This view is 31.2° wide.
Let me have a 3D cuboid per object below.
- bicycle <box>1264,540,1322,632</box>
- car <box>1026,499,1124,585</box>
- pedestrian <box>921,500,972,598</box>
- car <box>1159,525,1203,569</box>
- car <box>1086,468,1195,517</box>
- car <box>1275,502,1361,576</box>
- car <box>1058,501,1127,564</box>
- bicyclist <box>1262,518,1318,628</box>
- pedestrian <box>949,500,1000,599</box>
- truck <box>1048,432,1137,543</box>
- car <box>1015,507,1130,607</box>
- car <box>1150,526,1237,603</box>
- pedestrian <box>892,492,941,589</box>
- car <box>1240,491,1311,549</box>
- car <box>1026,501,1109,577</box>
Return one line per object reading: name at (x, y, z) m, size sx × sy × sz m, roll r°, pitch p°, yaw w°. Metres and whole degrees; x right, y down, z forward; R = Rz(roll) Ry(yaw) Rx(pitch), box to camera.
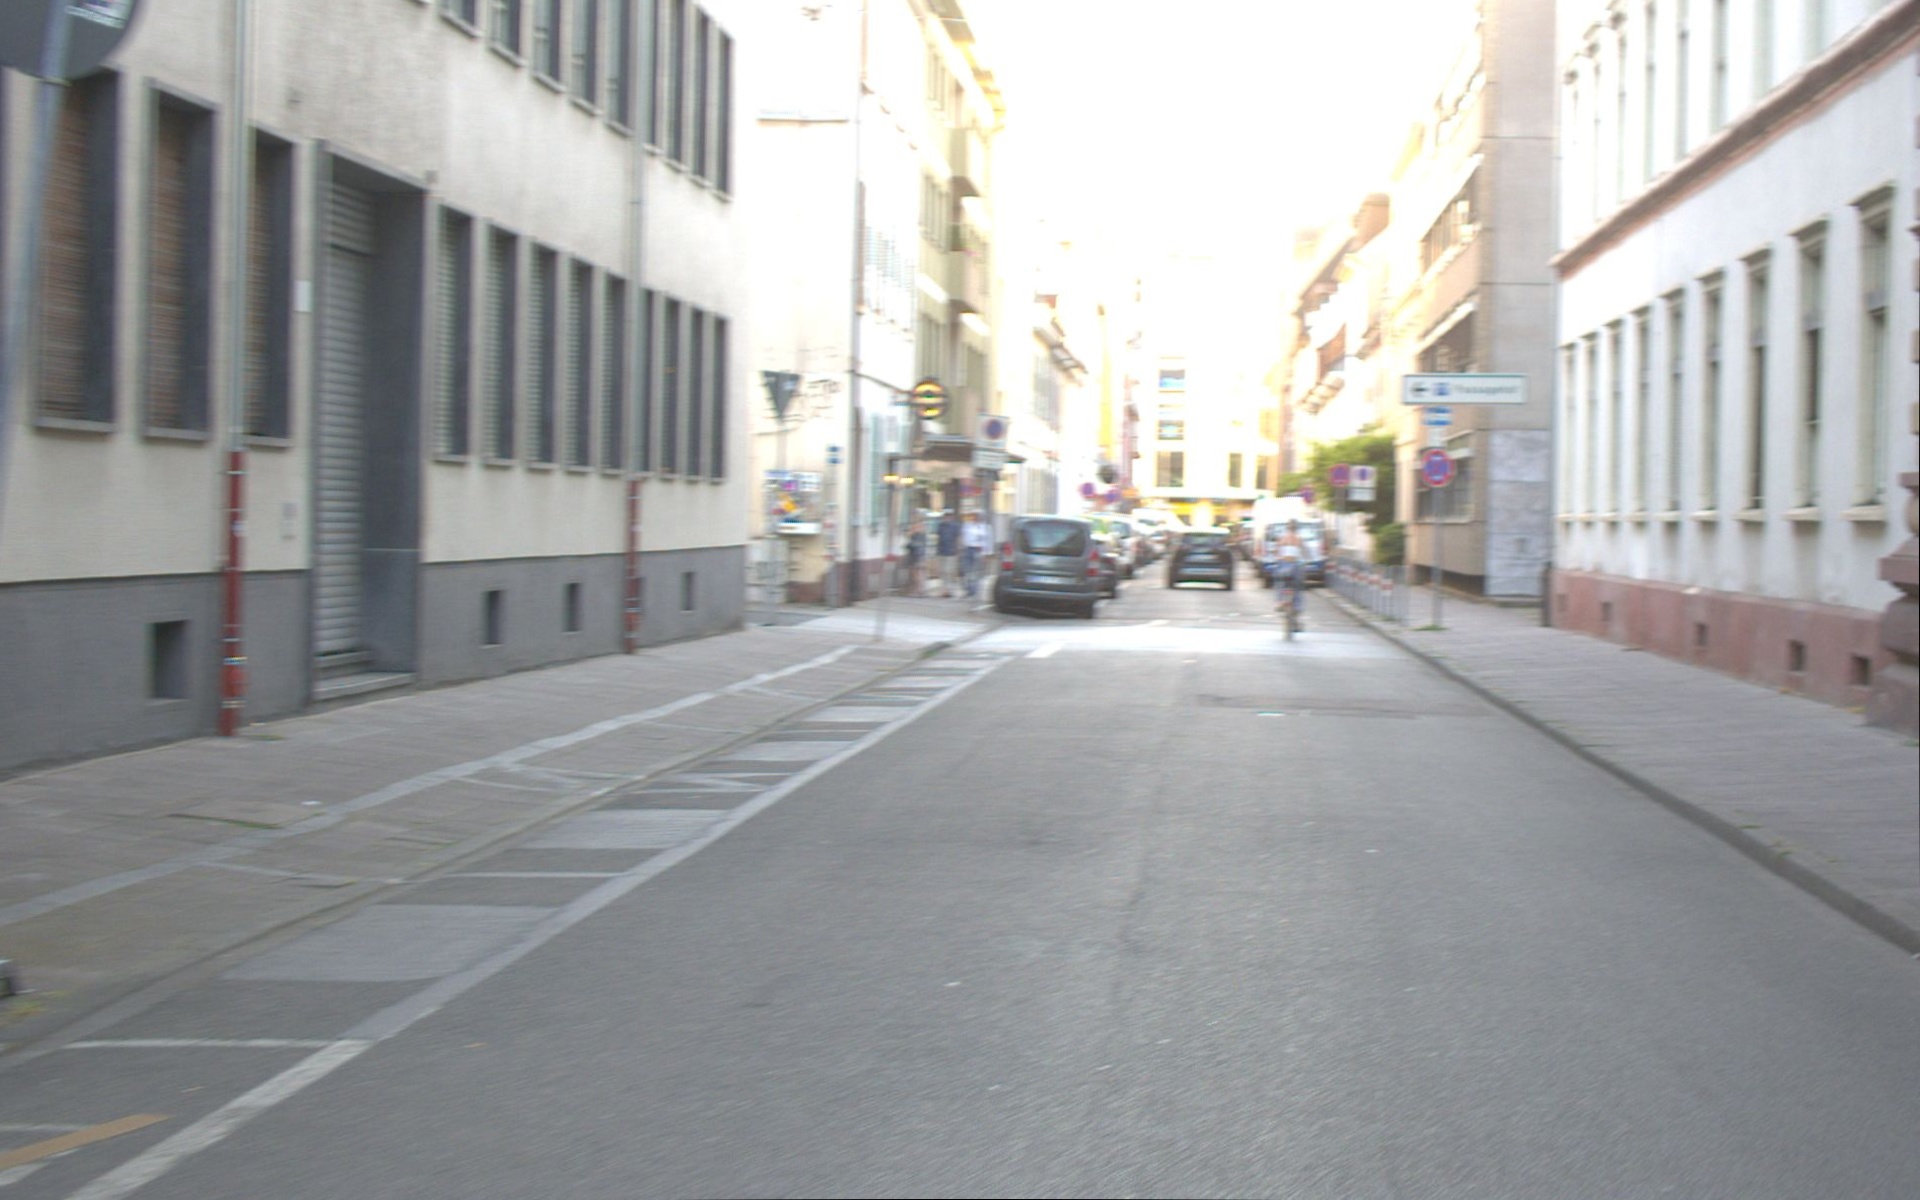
bicycle at (4.866, -0.224, 50.340) m, size 0.794 × 1.273 × 2.578 m, roll 1°, pitch 1°, yaw 5°
car at (2.515, -1.301, 75.942) m, size 1.993 × 1.809 × 4.000 m, roll 1°, pitch 1°, yaw 0°
pedestrian at (-0.259, -0.999, 67.524) m, size 0.733 × 1.905 × 0.757 m, roll 1°, pitch 1°, yaw 23°
car at (10.657, -2.517, 165.482) m, size 1.994 × 2.007 × 3.999 m, roll 2°, pitch 0°, yaw 5°
car at (7.012, -4.178, 133.848) m, size 3.986 × 1.764 × 2.015 m, roll 1°, pitch 1°, yaw -3°
car at (9.872, -1.695, 94.967) m, size 1.993 × 1.985 × 4.000 m, roll 1°, pitch 1°, yaw 1°
car at (3.994, -2.048, 103.542) m, size 1.994 × 1.809 × 4.000 m, roll 1°, pitch 1°, yaw 2°
bicyclist at (4.832, -0.404, 50.375) m, size 0.789 × 1.577 × 1.012 m, roll 1°, pitch 1°, yaw 5°
pedestrian at (0.289, -0.986, 66.816) m, size 0.733 × 1.905 × 0.757 m, roll 1°, pitch 1°, yaw 23°
truck at (4.462, -3.722, 115.437) m, size 2.771 × 3.493 × 9.615 m, roll 1°, pitch 1°, yaw 3°
car at (2.065, -0.806, 62.332) m, size 1.994 × 1.722 × 4.000 m, roll 1°, pitch 1°, yaw 3°
car at (6.023, -0.939, 89.068) m, size 1.993 × 1.897 × 4.000 m, roll 1°, pitch 1°, yaw 1°
pedestrian at (-0.827, -1.125, 65.285) m, size 0.755 × 1.823 × 0.735 m, roll 0°, pitch 1°, yaw -14°
car at (10.491, -2.674, 114.517) m, size 1.993 × 1.880 × 4.172 m, roll 1°, pitch 1°, yaw 1°
car at (2.647, -1.530, 85.464) m, size 1.993 × 1.809 × 4.000 m, roll 1°, pitch 1°, yaw 1°
